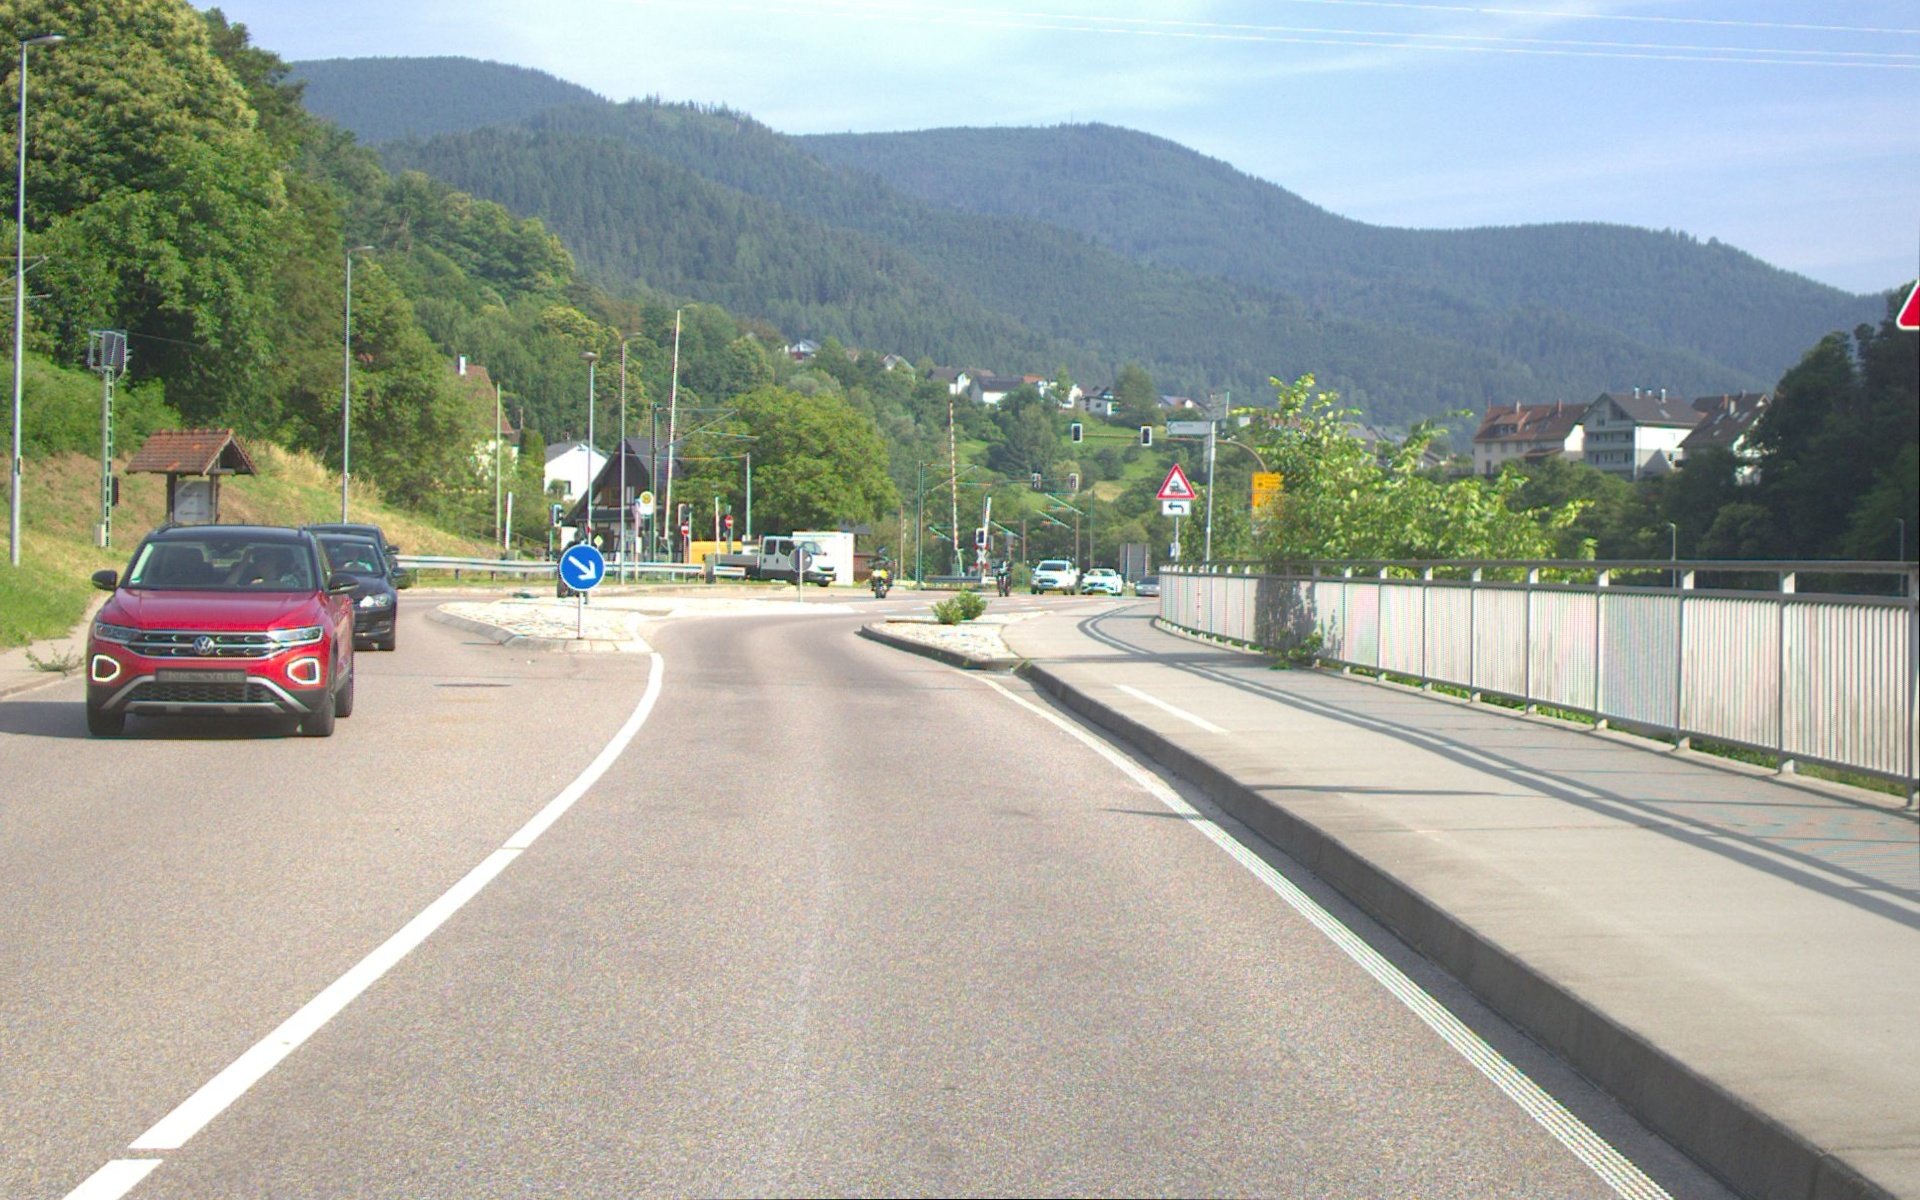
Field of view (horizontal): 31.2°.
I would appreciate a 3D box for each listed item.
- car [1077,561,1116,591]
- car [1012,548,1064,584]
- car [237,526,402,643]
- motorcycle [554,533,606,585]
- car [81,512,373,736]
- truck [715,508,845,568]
[{"bbox_3d":[7.141,-1.245,180.143,1.782,1.395,4.827,3,2,0],"label":"car"},{"bbox_3d":[3.714,-1.590,163.494,1.765,1.555,3.997,1,-1,12],"label":"car"},{"bbox_3d":[-8.081,-0.232,43.666,1.774,1.403,4.273,0,1,-7],"label":"car"},{"bbox_3d":[-9.100,-0.980,82.265,0.894,1.179,2.306,1,1,-14],"label":"motorcycle"},{"bbox_3d":[-5.546,0.122,26.439,1.705,1.578,4.160,0,1,-5],"label":"car"},{"bbox_3d":[-8.020,-2.761,152.532,5.999,2.258,1.995,5,2,43],"label":"truck"}]
